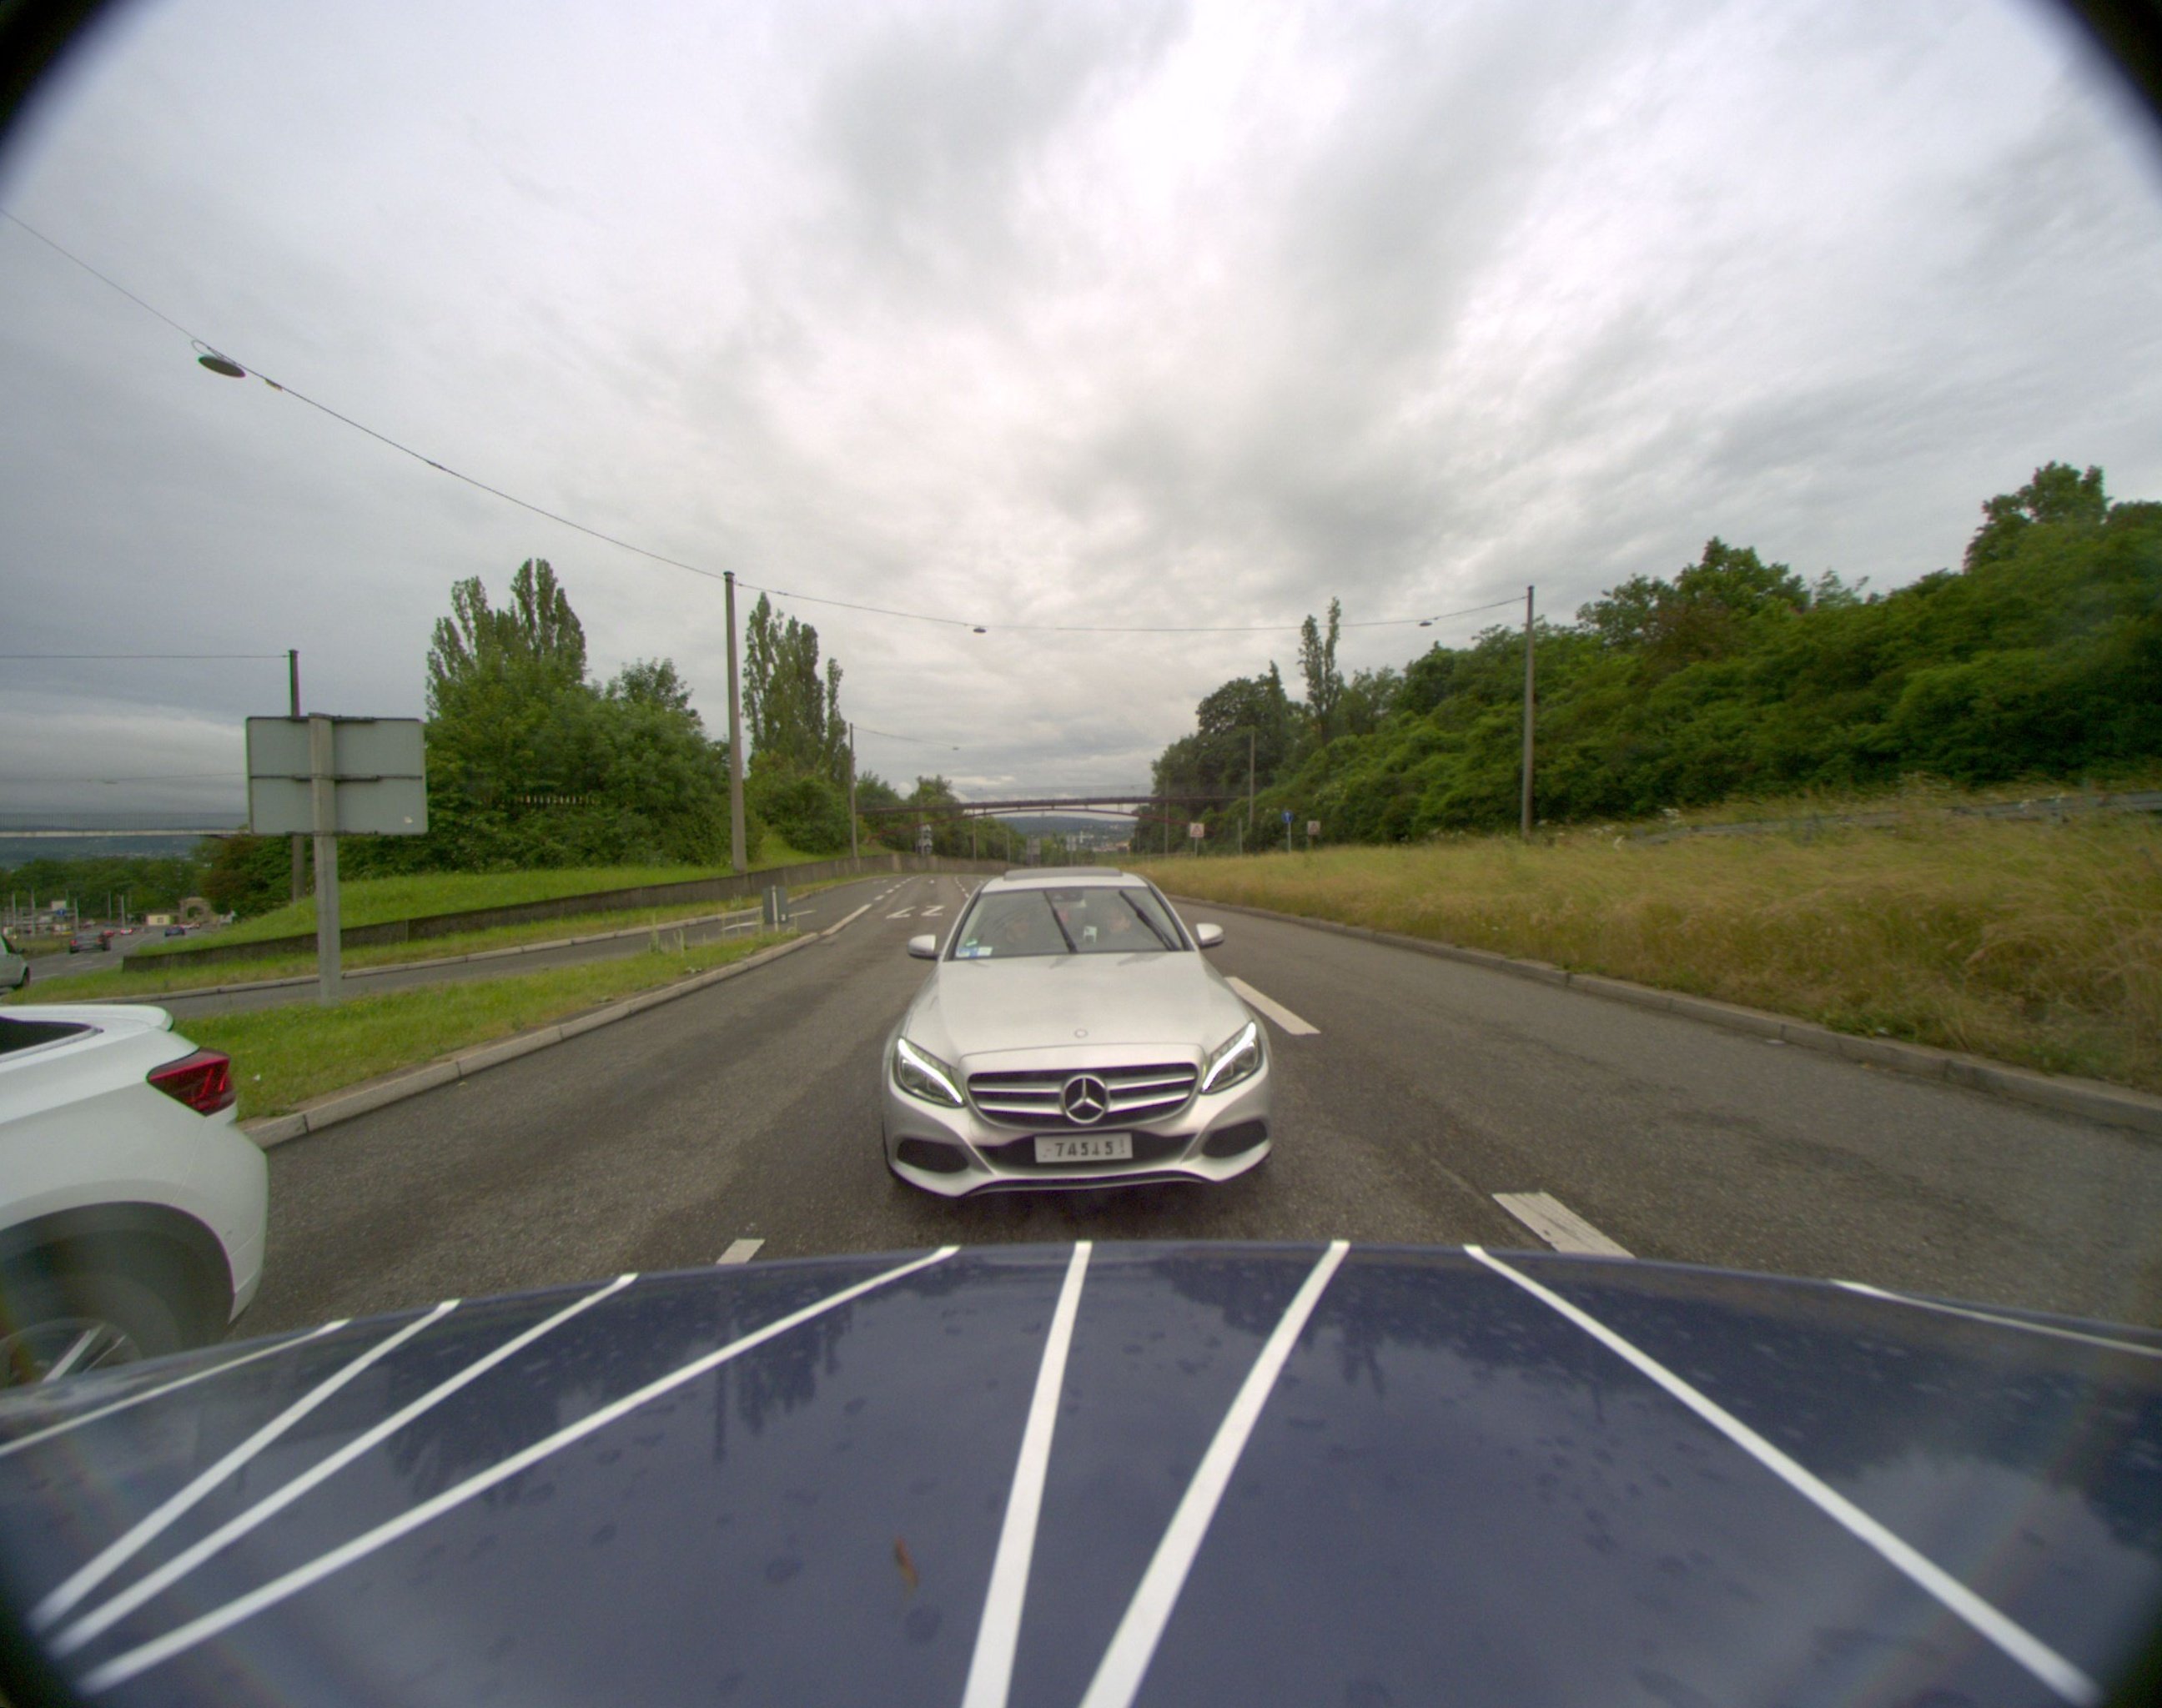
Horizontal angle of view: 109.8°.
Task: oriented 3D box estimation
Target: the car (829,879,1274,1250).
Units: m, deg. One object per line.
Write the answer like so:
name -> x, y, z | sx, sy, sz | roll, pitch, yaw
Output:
car -> -0.119, 0.988, 5.364 | 1.895, 1.361, 4.134 | -2, 1, 0

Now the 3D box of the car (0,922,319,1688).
car -> -3.095, 1.040, 0.128 | 1.718, 1.544, 4.227 | -2, 1, -3

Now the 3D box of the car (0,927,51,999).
car -> -30.537, 3.061, 20.663 | 2.003, 1.837, 4.812 | -5, 0, -42

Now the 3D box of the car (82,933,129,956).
car -> -73.594, 6.836, 57.375 | 4.072, 1.412, 1.688 | -5, 0, 44
